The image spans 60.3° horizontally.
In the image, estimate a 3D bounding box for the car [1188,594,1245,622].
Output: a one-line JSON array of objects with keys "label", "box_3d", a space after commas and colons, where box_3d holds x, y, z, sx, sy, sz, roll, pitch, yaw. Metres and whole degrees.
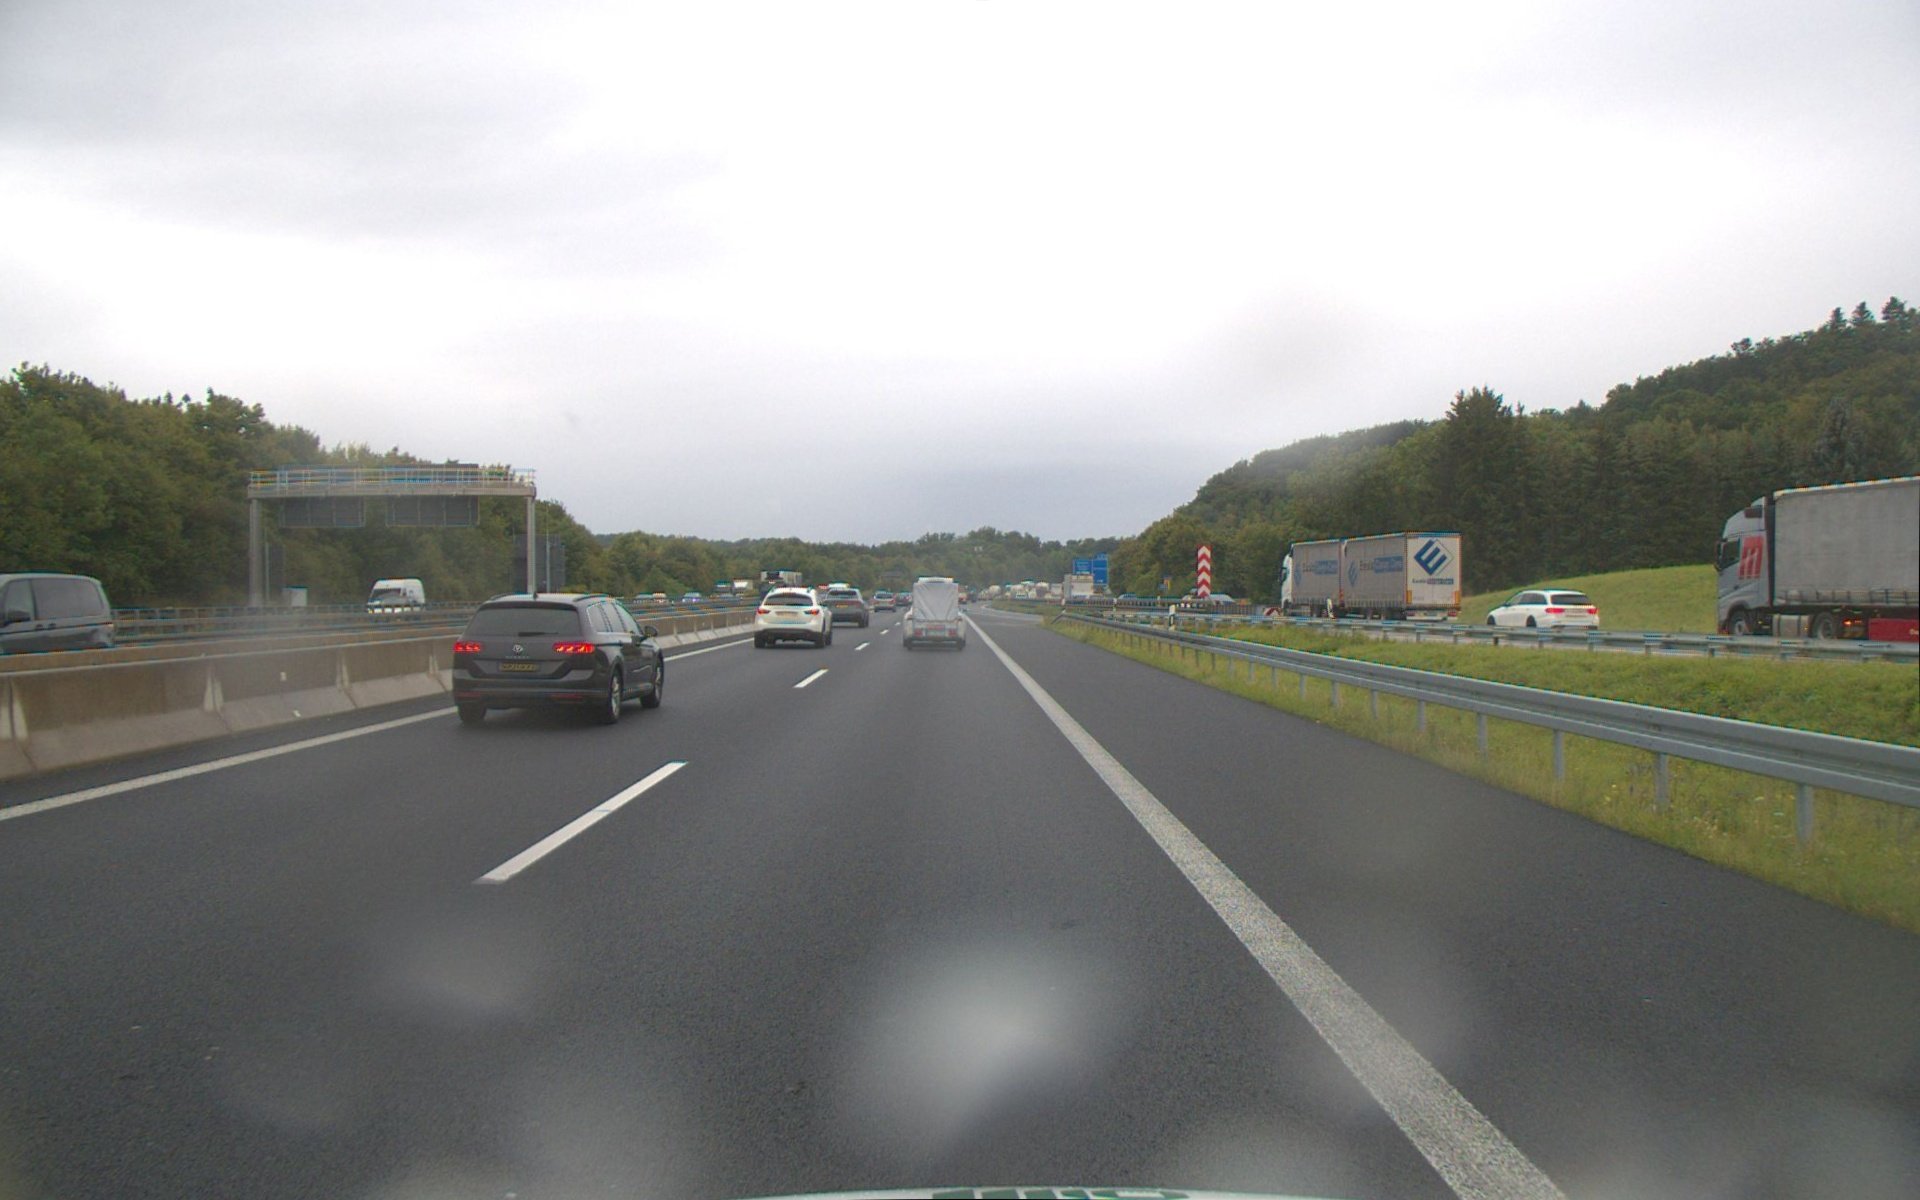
[{"label": "car", "box_3d": [14.441, 0.437, 93.246, 1.947, 1.401, 5.313, 0, 1, -5]}]

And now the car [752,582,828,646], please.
[{"label": "car", "box_3d": [-4.789, 0.359, 46.783, 2.009, 1.700, 4.535, 1, 0, -6]}]

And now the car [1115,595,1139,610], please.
[{"label": "car", "box_3d": [14.524, 0.214, 143.714, 1.662, 1.311, 3.534, 1, 0, -1]}]

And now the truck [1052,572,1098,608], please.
[{"label": "truck", "box_3d": [12.407, -1.105, 179.109, 3.750, 3.723, 8.265, 1, 0, -4]}]

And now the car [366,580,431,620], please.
[{"label": "car", "box_3d": [-32.863, -0.028, 97.027, 1.953, 2.252, 5.714, 0, 0, -1]}]

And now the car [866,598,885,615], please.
[{"label": "car", "box_3d": [-8.564, 0.655, 167.635, 1.782, 1.691, 4.017, 0, 0, 0]}]

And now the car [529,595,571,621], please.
[{"label": "car", "box_3d": [-29.349, 0.551, 118.468, 1.953, 1.767, 4.581, -1, 0, -2]}]

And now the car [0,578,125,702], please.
[{"label": "car", "box_3d": [-14.115, 0.528, 23.603, 1.953, 1.679, 5.025, 1, 0, -2]}]

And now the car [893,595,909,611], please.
[{"label": "car", "box_3d": [-6.362, 0.328, 178.748, 1.612, 1.601, 4.000, 1, 0, 0]}]

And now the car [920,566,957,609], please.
[{"label": "car", "box_3d": [-1.503, -0.871, 110.755, 2.285, 2.773, 6.537, 0, 1, -2]}]

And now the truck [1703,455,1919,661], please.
[{"label": "truck", "box_3d": [23.339, -0.932, 37.761, 3.747, 4.620, 16.863, 0, 0, -6]}]

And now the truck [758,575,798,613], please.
[{"label": "truck", "box_3d": [-18.212, -0.609, 166.307, 2.751, 3.586, 10.640, 1, 0, 0]}]

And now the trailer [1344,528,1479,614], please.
[{"label": "trailer", "box_3d": [20.337, -1.249, 75.008, 3.020, 3.588, 8.072, 1, 0, -7]}]

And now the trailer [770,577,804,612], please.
[{"label": "trailer", "box_3d": [-18.350, -0.604, 175.723, 2.883, 3.577, 8.049, 1, 0, -1]}]

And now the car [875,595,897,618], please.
[{"label": "car", "box_3d": [-6.158, 0.504, 137.677, 1.703, 1.825, 3.999, 1, 0, -1]}]

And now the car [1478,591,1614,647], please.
[{"label": "car", "box_3d": [18.111, 0.558, 51.364, 1.955, 1.645, 5.071, 0, 0, -7]}]

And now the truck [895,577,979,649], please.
[{"label": "truck", "box_3d": [-0.692, 0.327, 47.238, 2.197, 1.871, 6.583, 1, 0, -1]}]

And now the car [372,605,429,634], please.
[{"label": "car", "box_3d": [-28.383, 0.972, 84.000, 1.557, 1.450, 3.918, 1, 0, 0]}]

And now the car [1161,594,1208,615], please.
[{"label": "car", "box_3d": [15.590, 0.323, 115.011, 1.949, 1.401, 5.069, 0, 0, -8]}]

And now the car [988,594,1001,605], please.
[{"label": "car", "box_3d": [4.964, -0.098, 238.071, 1.612, 1.601, 4.000, 1, 0, 0]}]

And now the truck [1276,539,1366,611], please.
[{"label": "truck", "box_3d": [18.955, -1.290, 87.235, 2.881, 3.588, 5.920, 1, 0, -6]}]

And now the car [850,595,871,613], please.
[{"label": "car", "box_3d": [-9.315, 0.353, 155.049, 1.782, 1.691, 4.017, 0, 0, 0]}]

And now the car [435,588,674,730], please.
[{"label": "car", "box_3d": [-4.712, 0.619, 19.936, 1.751, 1.484, 4.801, 1, 0, -1]}]

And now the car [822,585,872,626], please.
[{"label": "car", "box_3d": [-5.042, 0.218, 74.231, 1.935, 1.733, 4.801, 1, 0, -1]}]

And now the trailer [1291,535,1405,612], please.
[{"label": "trailer", "box_3d": [19.378, -1.270, 83.190, 2.882, 3.588, 8.408, 1, 0, -6]}]
